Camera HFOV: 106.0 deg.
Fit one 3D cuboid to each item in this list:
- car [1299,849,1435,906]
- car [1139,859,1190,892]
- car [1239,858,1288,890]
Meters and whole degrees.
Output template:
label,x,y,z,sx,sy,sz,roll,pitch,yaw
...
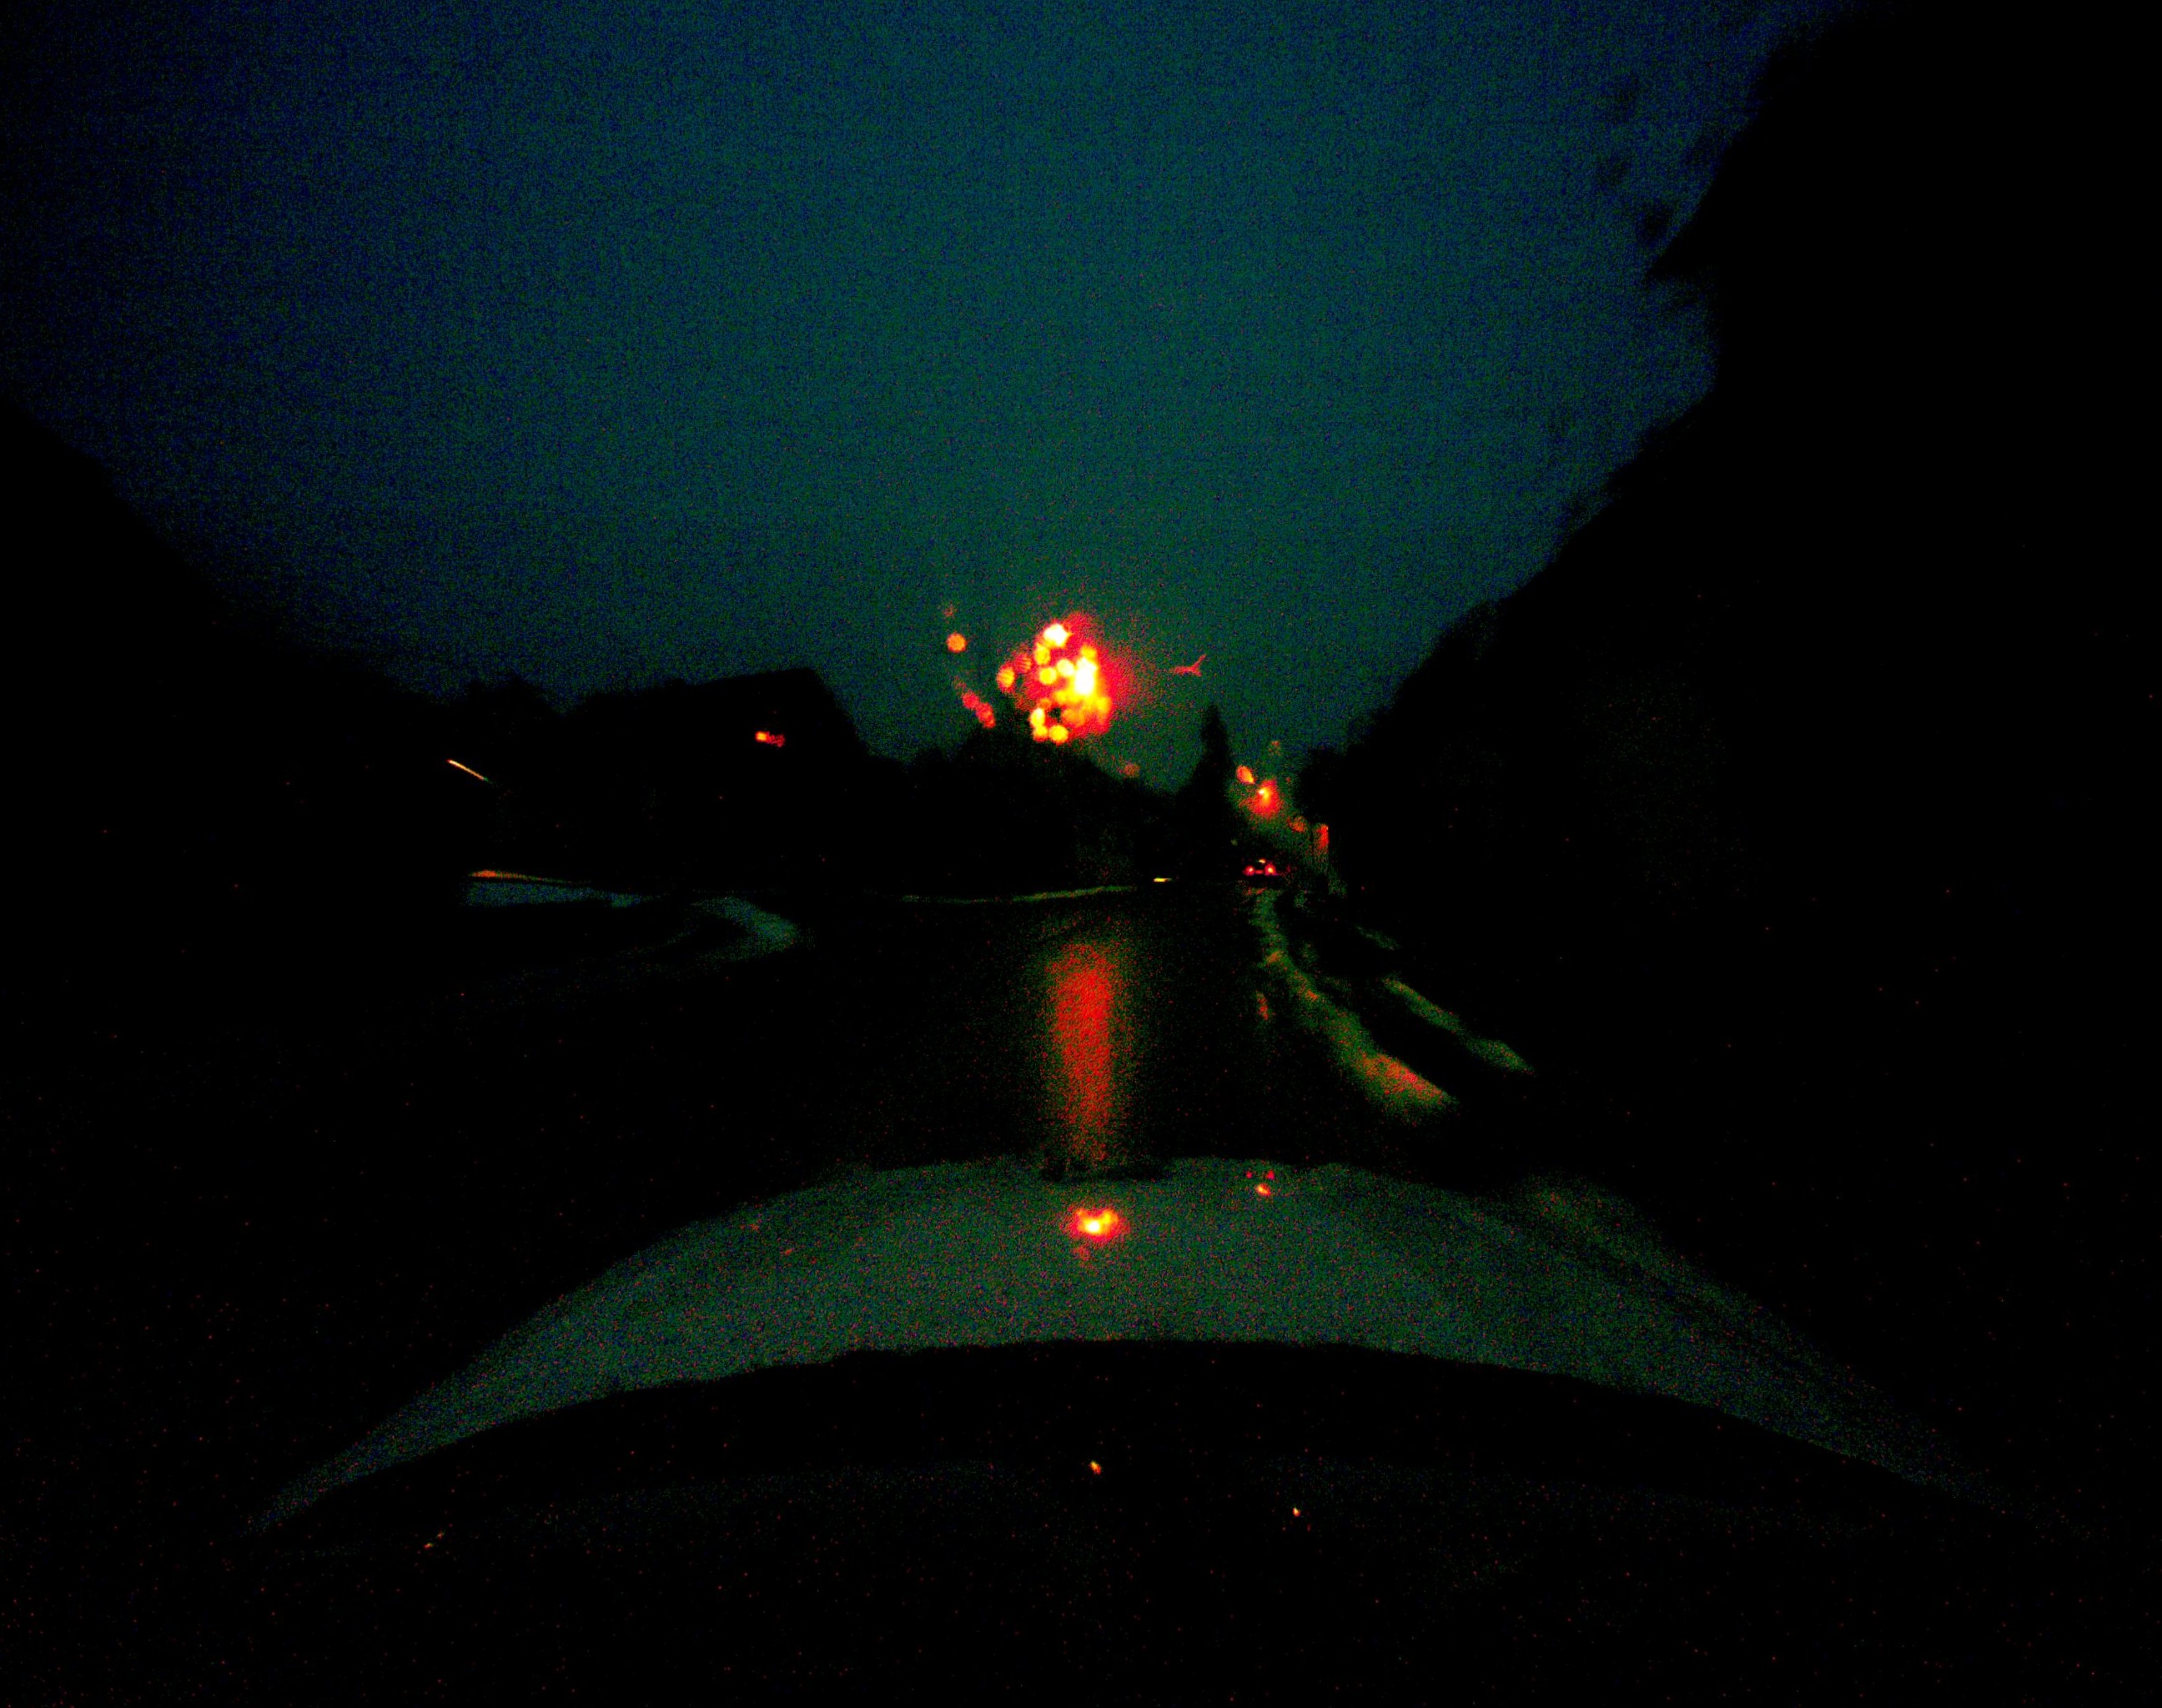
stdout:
label,x,y,z,sx,sy,sz,roll,pitch,yaw
car,8.173,0.705,23.553,3.418,1.387,1.643,-4,-3,9
car,4.770,1.247,45.843,1.978,1.651,4.017,-4,-3,17
car,11.001,1.246,48.879,1.975,1.737,3.900,-4,-4,25
